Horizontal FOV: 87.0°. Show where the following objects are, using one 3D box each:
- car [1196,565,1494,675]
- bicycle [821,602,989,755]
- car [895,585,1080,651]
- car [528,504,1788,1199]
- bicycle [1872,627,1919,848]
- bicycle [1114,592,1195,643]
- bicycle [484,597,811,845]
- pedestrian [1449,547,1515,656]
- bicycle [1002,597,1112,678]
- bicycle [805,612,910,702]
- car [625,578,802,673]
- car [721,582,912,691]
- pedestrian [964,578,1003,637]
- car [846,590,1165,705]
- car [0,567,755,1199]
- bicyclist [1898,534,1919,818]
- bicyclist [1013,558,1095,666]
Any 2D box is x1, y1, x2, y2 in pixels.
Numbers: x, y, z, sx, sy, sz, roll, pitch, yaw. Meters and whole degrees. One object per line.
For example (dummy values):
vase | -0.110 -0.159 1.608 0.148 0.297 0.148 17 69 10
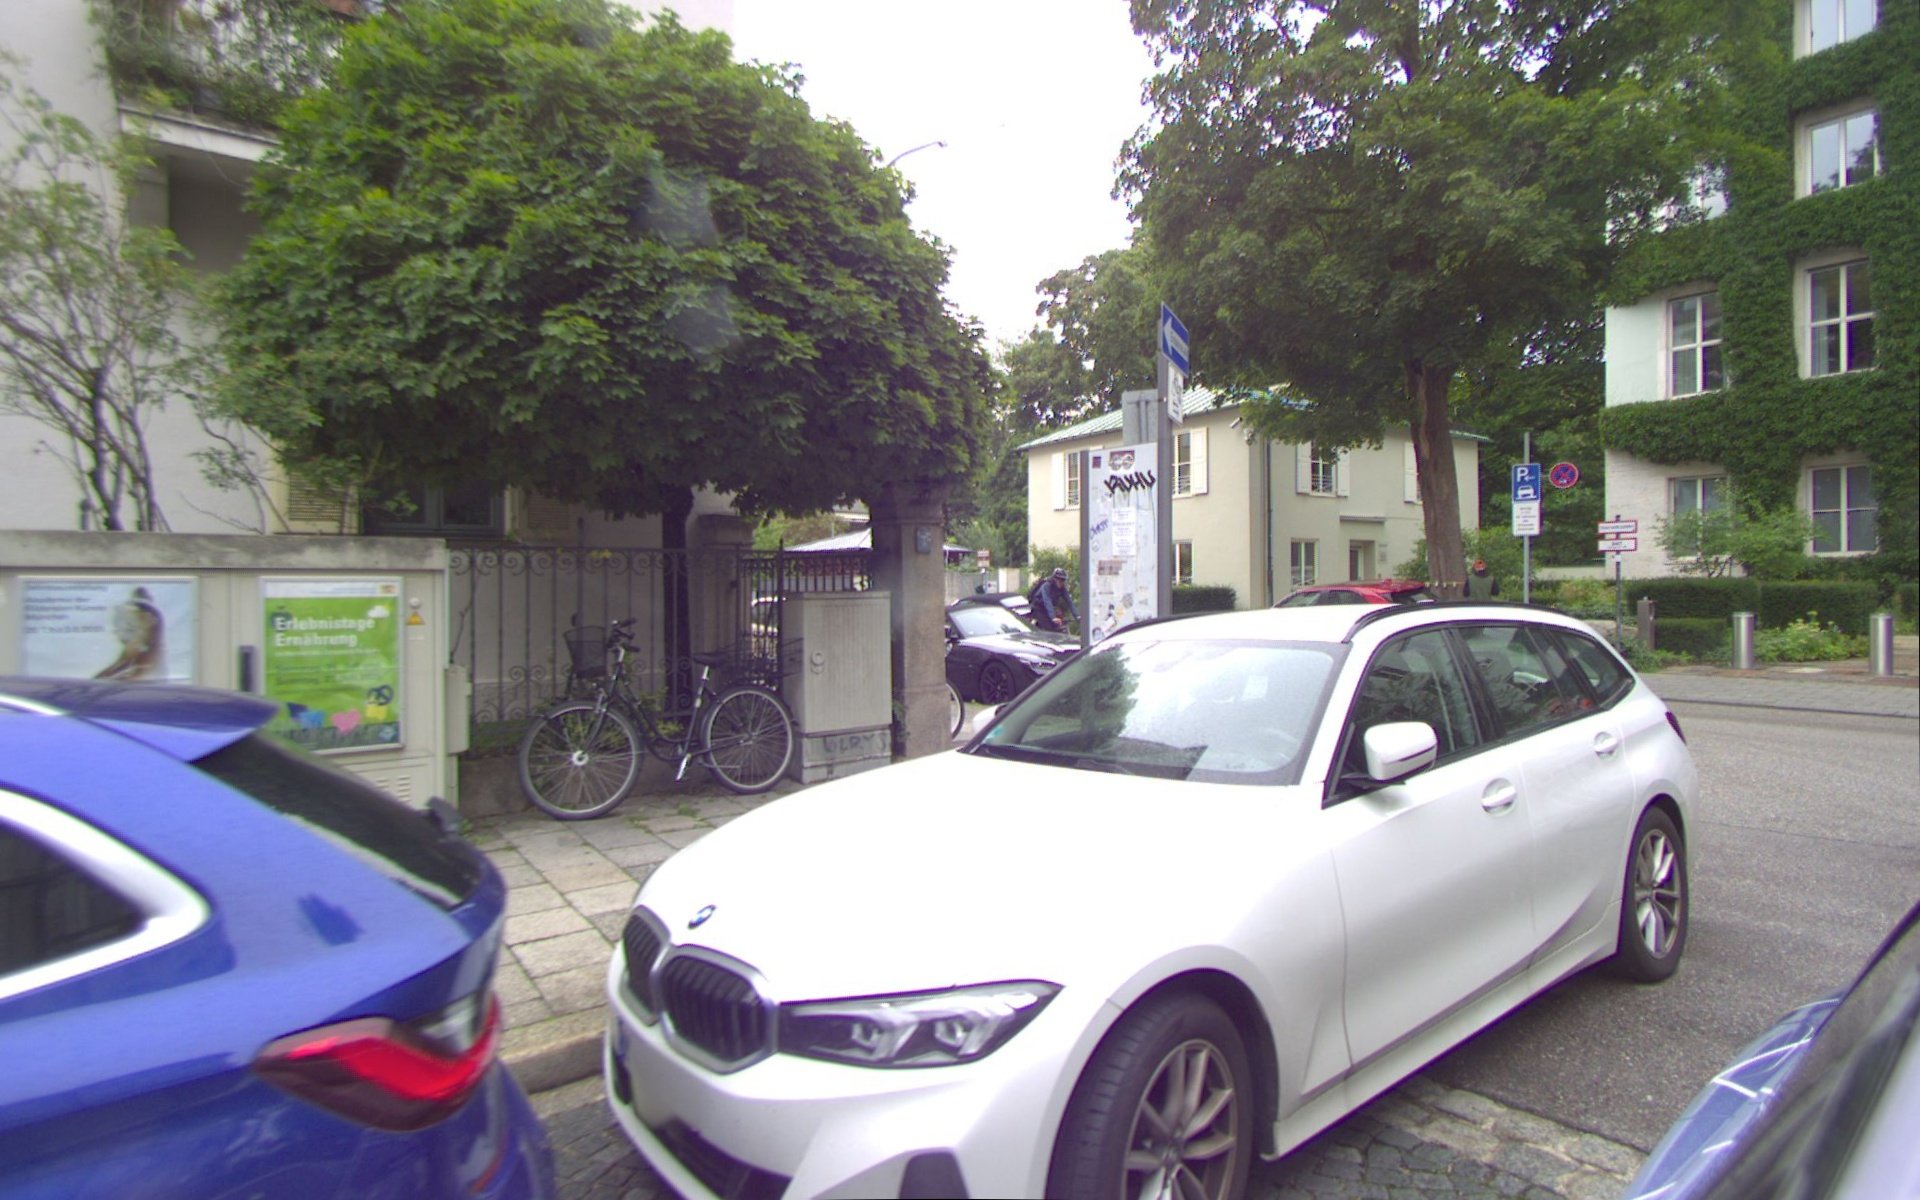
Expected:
car | 6.524 0.276 17.616 1.859 1.610 4.524 -3 2 -38
bicycle | -0.541 0.653 9.253 0.534 1.241 1.773 0 1 -43
car | 0.571 0.397 25.309 1.782 1.419 4.916 -3 2 -40
car | 1.187 0.633 3.796 4.833 1.551 1.911 -1 -2 -38
bicycle | 5.321 0.777 4.979 0.667 1.155 1.994 -1 2 25
bicycle | 4.540 0.389 23.777 0.638 1.144 2.049 -1 0 -31
bicycle | -1.874 0.660 6.300 1.886 1.292 0.467 -2 0 -41
pedestrian | 9.334 0.012 18.101 0.702 1.875 0.796 -3 2 -37
bicycle | 1.550 0.589 16.526 0.708 1.221 1.799 -3 1 -38
bicycle | -1.416 0.718 13.572 0.652 1.077 1.940 0 0 -30
car | -5.389 0.467 21.691 1.964 1.728 4.531 -4 2 -37
car | -2.647 0.565 17.971 1.745 1.564 3.710 -7 4 -35
pedestrian | 0.647 0.206 27.744 0.704 1.567 0.751 -3 2 -41
car | 0.453 0.566 14.207 1.969 1.336 4.591 2 -1 -38
car | -2.750 0.806 0.692 4.788 1.526 1.933 -2 0 -39
bicyclist | 5.295 0.408 4.946 0.749 1.501 0.974 -1 2 24
bicyclist | 1.525 0.190 16.533 0.767 1.688 1.034 -3 0 -38
